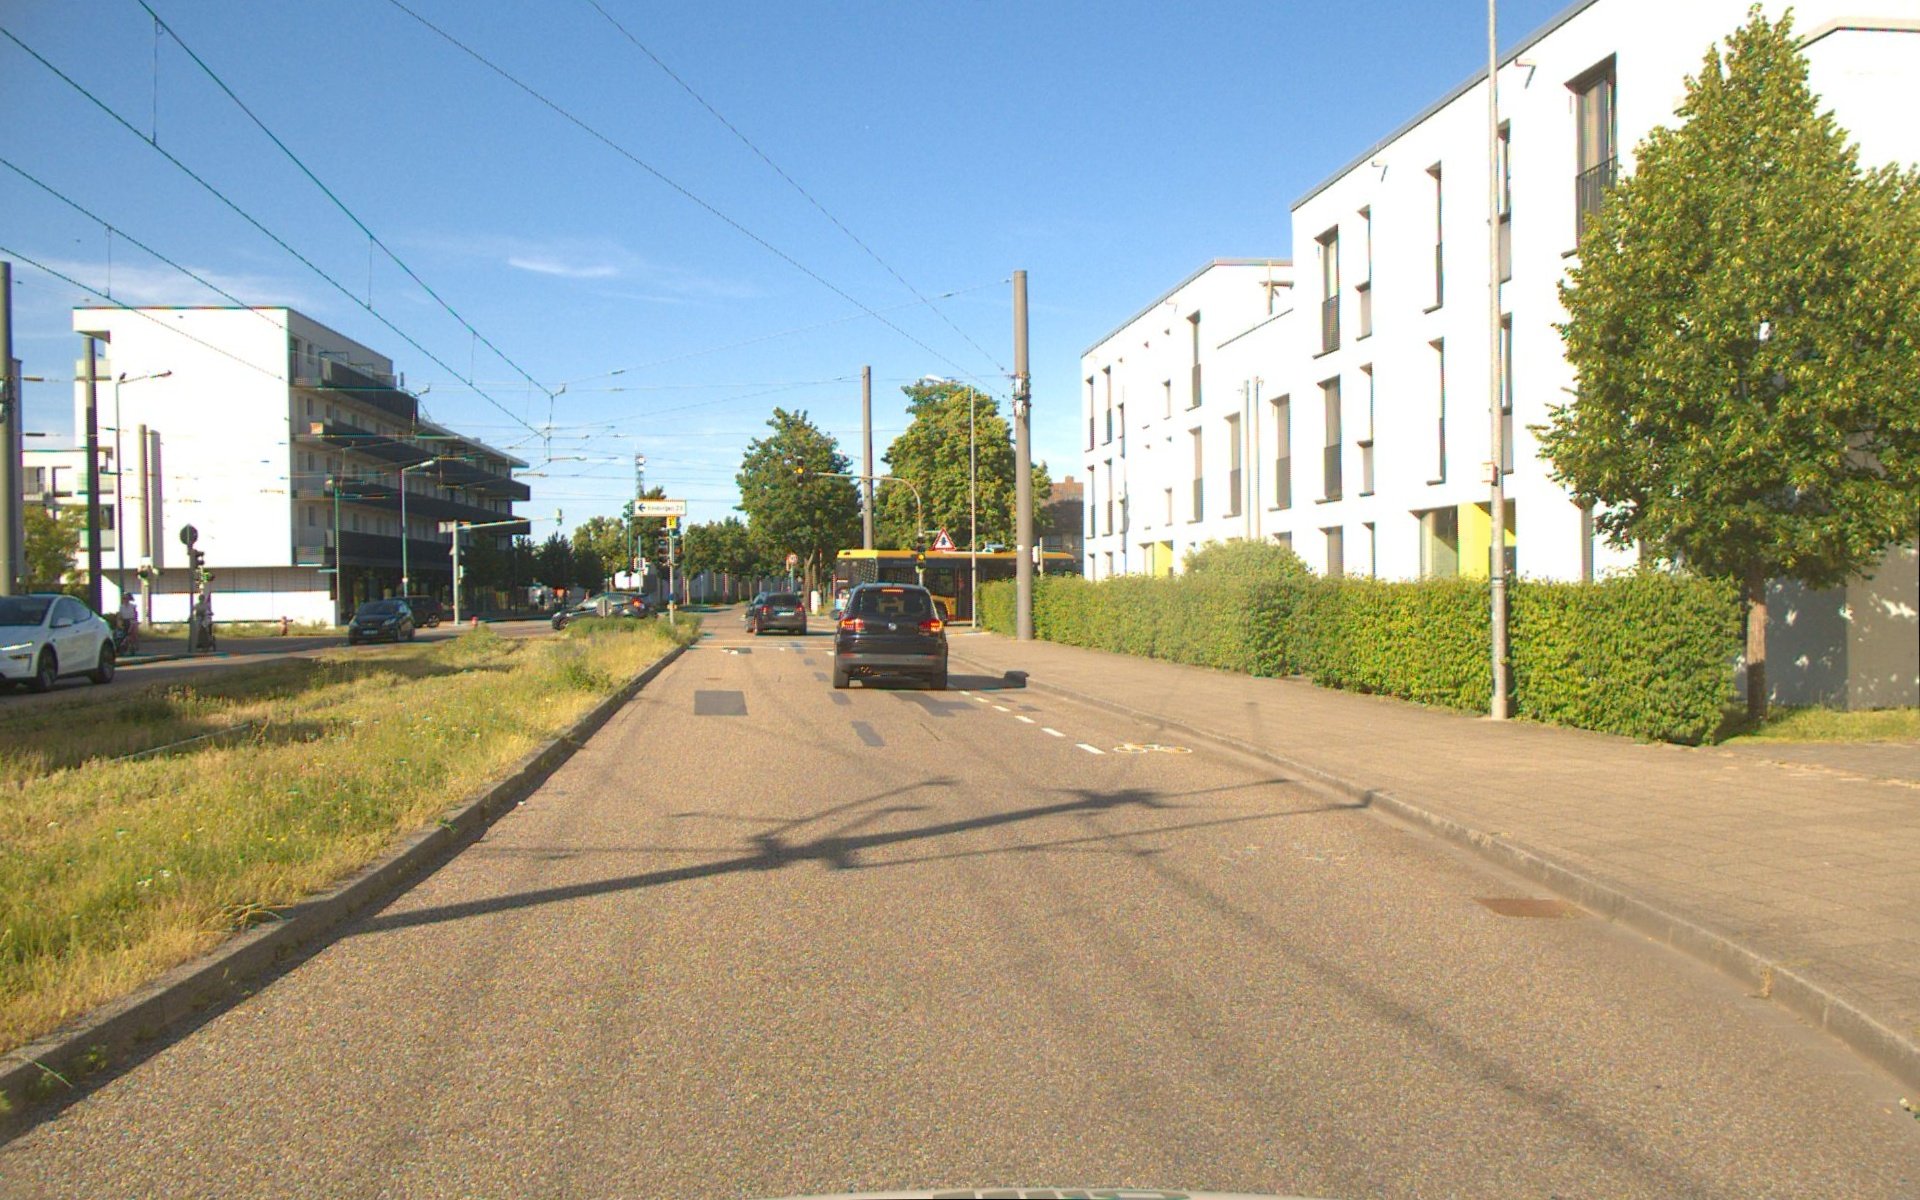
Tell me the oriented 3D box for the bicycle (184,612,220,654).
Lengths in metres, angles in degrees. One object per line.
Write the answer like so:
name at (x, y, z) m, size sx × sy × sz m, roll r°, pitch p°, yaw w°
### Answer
bicycle at (-24.095, 1.032, 52.604) m, size 0.782 × 1.243 × 2.687 m, roll 0°, pitch 0°, yaw -19°

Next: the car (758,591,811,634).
car at (-6.177, 0.415, 57.902) m, size 1.718 × 1.411 × 3.993 m, roll 1°, pitch 0°, yaw -8°

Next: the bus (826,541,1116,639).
bus at (0.838, -0.387, 68.843) m, size 2.800 × 3.735 × 14.580 m, roll 1°, pitch 0°, yaw 44°

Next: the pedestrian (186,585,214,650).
pedestrian at (-23.870, 0.546, 51.960) m, size 0.750 × 2.049 × 0.665 m, roll 0°, pitch 0°, yaw -20°

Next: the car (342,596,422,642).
car at (-20.394, 0.640, 58.506) m, size 1.753 × 1.443 × 3.995 m, roll -2°, pitch 1°, yaw -6°

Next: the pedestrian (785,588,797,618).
pedestrian at (-9.583, 0.157, 93.758) m, size 0.591 × 1.668 × 0.529 m, roll 1°, pitch 0°, yaw -2°

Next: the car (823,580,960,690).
car at (-1.205, 0.527, 27.269) m, size 1.870 × 1.671 × 3.993 m, roll 1°, pitch 0°, yaw -8°

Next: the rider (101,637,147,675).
rider at (-23.388, 1.552, 46.292) m, size 0.762 × 1.020 × 1.045 m, roll 1°, pitch 0°, yaw -2°

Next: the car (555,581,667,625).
car at (-12.936, 0.102, 61.404) m, size 3.648 × 1.455 × 1.710 m, roll -2°, pitch 1°, yaw 10°

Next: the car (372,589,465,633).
car at (-27.046, 0.521, 82.659) m, size 1.960 × 2.049 × 3.985 m, roll -1°, pitch 1°, yaw 36°

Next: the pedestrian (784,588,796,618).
pedestrian at (-9.585, 0.162, 93.212) m, size 0.591 × 1.668 × 0.529 m, roll 1°, pitch 0°, yaw -2°

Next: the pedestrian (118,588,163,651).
pedestrian at (-23.419, 0.540, 47.276) m, size 0.799 × 1.778 × 0.909 m, roll 1°, pitch 0°, yaw -1°

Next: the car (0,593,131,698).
car at (-16.142, 0.752, 28.441) m, size 1.957 × 1.623 × 4.637 m, roll -3°, pitch 1°, yaw -9°

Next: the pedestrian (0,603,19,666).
pedestrian at (-22.933, 0.826, 39.554) m, size 0.546 × 1.489 × 0.611 m, roll 1°, pitch 0°, yaw -5°
